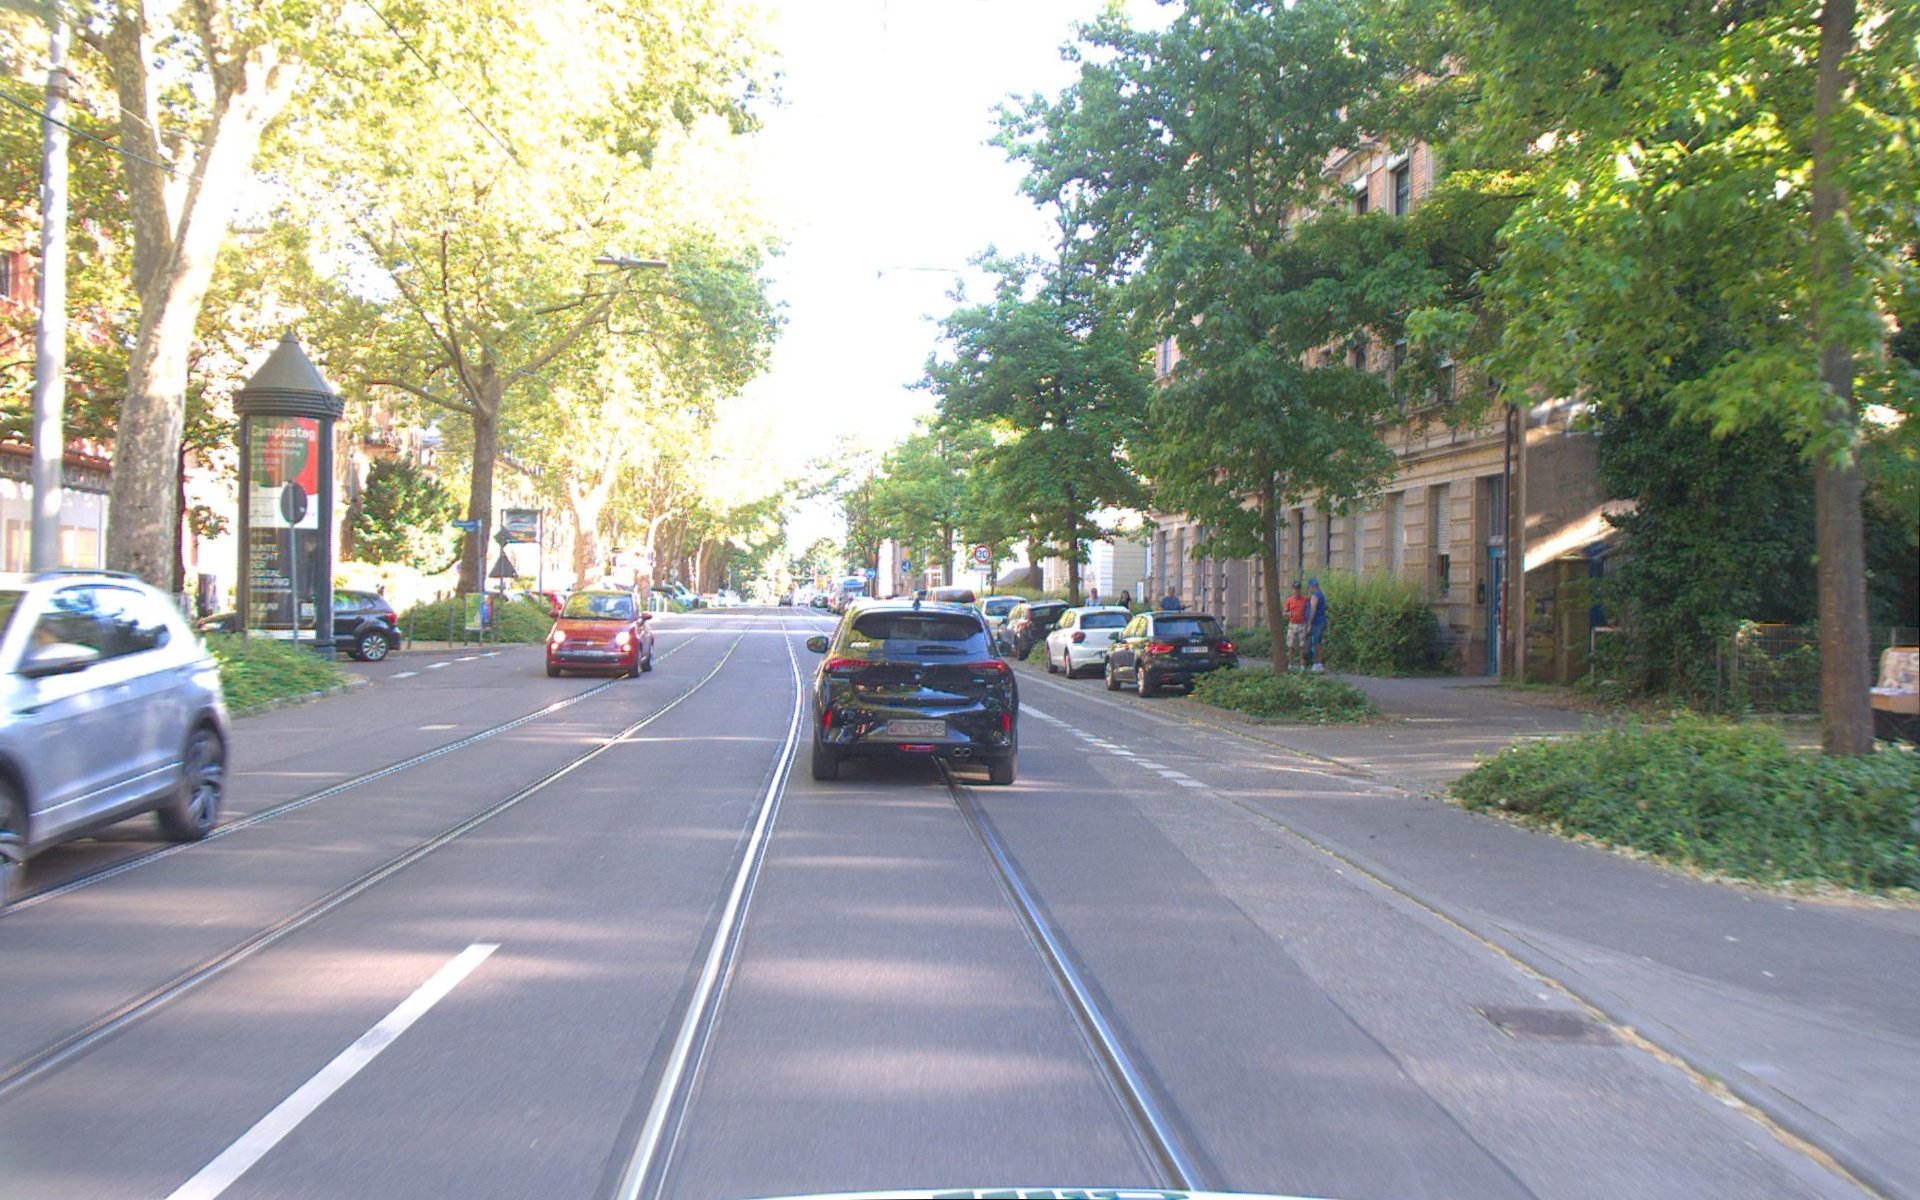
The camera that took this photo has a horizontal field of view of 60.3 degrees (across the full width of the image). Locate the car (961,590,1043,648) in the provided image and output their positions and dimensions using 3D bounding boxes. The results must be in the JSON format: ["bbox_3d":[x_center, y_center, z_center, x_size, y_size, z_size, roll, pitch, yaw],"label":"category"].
[{"bbox_3d":[1.223,0.551,49.553,1.848,1.595,4.236,-2,0,-7],"label":"car"}]

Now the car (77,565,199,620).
[{"bbox_3d":[-24.226,-0.204,48.907,1.910,1.513,3.995,1,0,-6],"label":"car"}]

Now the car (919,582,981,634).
[{"bbox_3d":[-0.433,0.288,64.951,1.848,1.883,4.960,-2,0,-7],"label":"car"}]

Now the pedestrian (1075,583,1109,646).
[{"bbox_3d":[3.648,0.391,45.705,0.712,1.722,0.955,1,0,-8],"label":"pedestrian"}]

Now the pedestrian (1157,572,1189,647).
[{"bbox_3d":[5.235,0.234,40.699,0.710,1.824,0.601,1,0,6],"label":"pedestrian"}]

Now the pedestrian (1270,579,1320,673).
[{"bbox_3d":[6.604,0.506,32.601,0.595,1.824,0.717,2,0,-41],"label":"pedestrian"}]

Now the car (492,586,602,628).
[{"bbox_3d":[-16.044,0.276,64.448,3.911,1.490,1.851,2,0,-7],"label":"car"}]

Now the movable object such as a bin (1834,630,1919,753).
[{"bbox_3d":[9.236,0.883,16.257,0.654,1.146,0.953,2,0,-14],"label":"movable object such as a bin"}]

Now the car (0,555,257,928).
[{"bbox_3d":[-5.152,0.616,8.388,1.781,1.596,4.111,-1,0,-6],"label":"car"}]

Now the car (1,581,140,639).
[{"bbox_3d":[-23.879,0.251,44.538,1.910,1.432,3.887,1,0,-6],"label":"car"}]

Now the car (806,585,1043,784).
[{"bbox_3d":[-0.450,0.651,14.640,1.729,1.486,3.945,1,0,-6],"label":"car"}]

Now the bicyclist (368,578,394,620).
[{"bbox_3d":[-21.734,-0.045,62.115,0.786,1.533,1.113,2,0,-13],"label":"bicyclist"}]

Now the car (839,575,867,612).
[{"bbox_3d":[-8.533,-0.533,131.652,2.045,2.820,4.691,-1,1,-7],"label":"car"}]

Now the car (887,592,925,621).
[{"bbox_3d":[-2.917,0.322,88.568,1.670,1.448,3.973,-3,0,-6],"label":"car"}]

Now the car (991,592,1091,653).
[{"bbox_3d":[2.141,0.575,44.878,1.849,1.492,4.585,-2,0,-8],"label":"car"}]

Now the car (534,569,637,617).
[{"bbox_3d":[-18.907,-0.357,83.725,4.941,2.299,2.081,2,0,-10],"label":"car"}]

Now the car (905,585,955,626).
[{"bbox_3d":[-1.379,0.243,74.128,1.849,1.797,4.671,0,0,-6],"label":"car"}]

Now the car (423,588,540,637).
[{"bbox_3d":[-15.654,0.392,54.255,3.353,1.490,1.695,2,0,-5],"label":"car"}]

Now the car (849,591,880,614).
[{"bbox_3d":[-6.635,0.158,114.480,1.848,1.459,4.524,-2,0,-7],"label":"car"}]

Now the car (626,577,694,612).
[{"bbox_3d":[-23.419,-0.430,129.250,4.940,2.415,2.078,-3,0,-7],"label":"car"}]

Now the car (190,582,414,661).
[{"bbox_3d":[-13.254,0.422,33.547,3.916,1.474,1.738,2,0,-12],"label":"car"}]

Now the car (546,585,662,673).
[{"bbox_3d":[-6.393,0.496,30.013,1.629,1.469,3.469,2,0,-6],"label":"car"}]

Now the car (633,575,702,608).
[{"bbox_3d":[-25.063,-0.707,141.841,5.526,2.638,2.195,2,0,-3],"label":"car"}]

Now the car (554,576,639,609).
[{"bbox_3d":[-19.057,-0.394,86.913,4.220,1.635,1.922,1,0,-9],"label":"car"}]

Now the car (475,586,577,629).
[{"bbox_3d":[-16.123,0.287,61.574,3.353,1.490,1.758,2,0,-5],"label":"car"}]

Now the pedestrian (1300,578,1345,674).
[{"bbox_3d":[7.002,0.500,31.960,0.587,1.824,0.727,1,0,-9],"label":"pedestrian"}]

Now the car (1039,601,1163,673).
[{"bbox_3d":[2.964,0.742,35.584,1.848,1.391,4.101,-2,0,-7],"label":"car"}]

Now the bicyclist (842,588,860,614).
[{"bbox_3d":[-6.495,0.057,98.217,0.940,1.525,1.092,1,0,-8],"label":"bicyclist"}]

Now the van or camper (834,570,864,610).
[{"bbox_3d":[-9.286,-0.827,138.164,2.211,3.272,5.523,-1,0,-7],"label":"van or camper"}]

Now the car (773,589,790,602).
[{"bbox_3d":[-24.885,-0.640,230.569,2.211,1.873,5.524,-1,0,-6],"label":"car"}]

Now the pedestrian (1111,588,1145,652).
[{"bbox_3d":[4.645,0.546,45.799,0.713,1.739,0.854,1,0,-10],"label":"pedestrian"}]

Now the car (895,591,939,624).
[{"bbox_3d":[-2.091,0.349,79.879,1.680,1.540,4.030,-2,0,-8],"label":"car"}]

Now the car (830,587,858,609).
[{"bbox_3d":[-10.188,-0.217,145.295,2.211,1.873,5.523,-1,0,-7],"label":"car"}]

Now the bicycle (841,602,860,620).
[{"bbox_3d":[-6.509,0.621,98.246,0.949,1.016,2.578,1,0,-8],"label":"bicycle"}]

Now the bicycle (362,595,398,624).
[{"bbox_3d":[-21.729,0.341,61.966,0.951,1.016,2.574,2,0,-13],"label":"bicycle"}]

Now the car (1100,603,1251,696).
[{"bbox_3d":[3.690,0.809,28.951,1.641,1.437,3.836,-2,0,-8],"label":"car"}]
